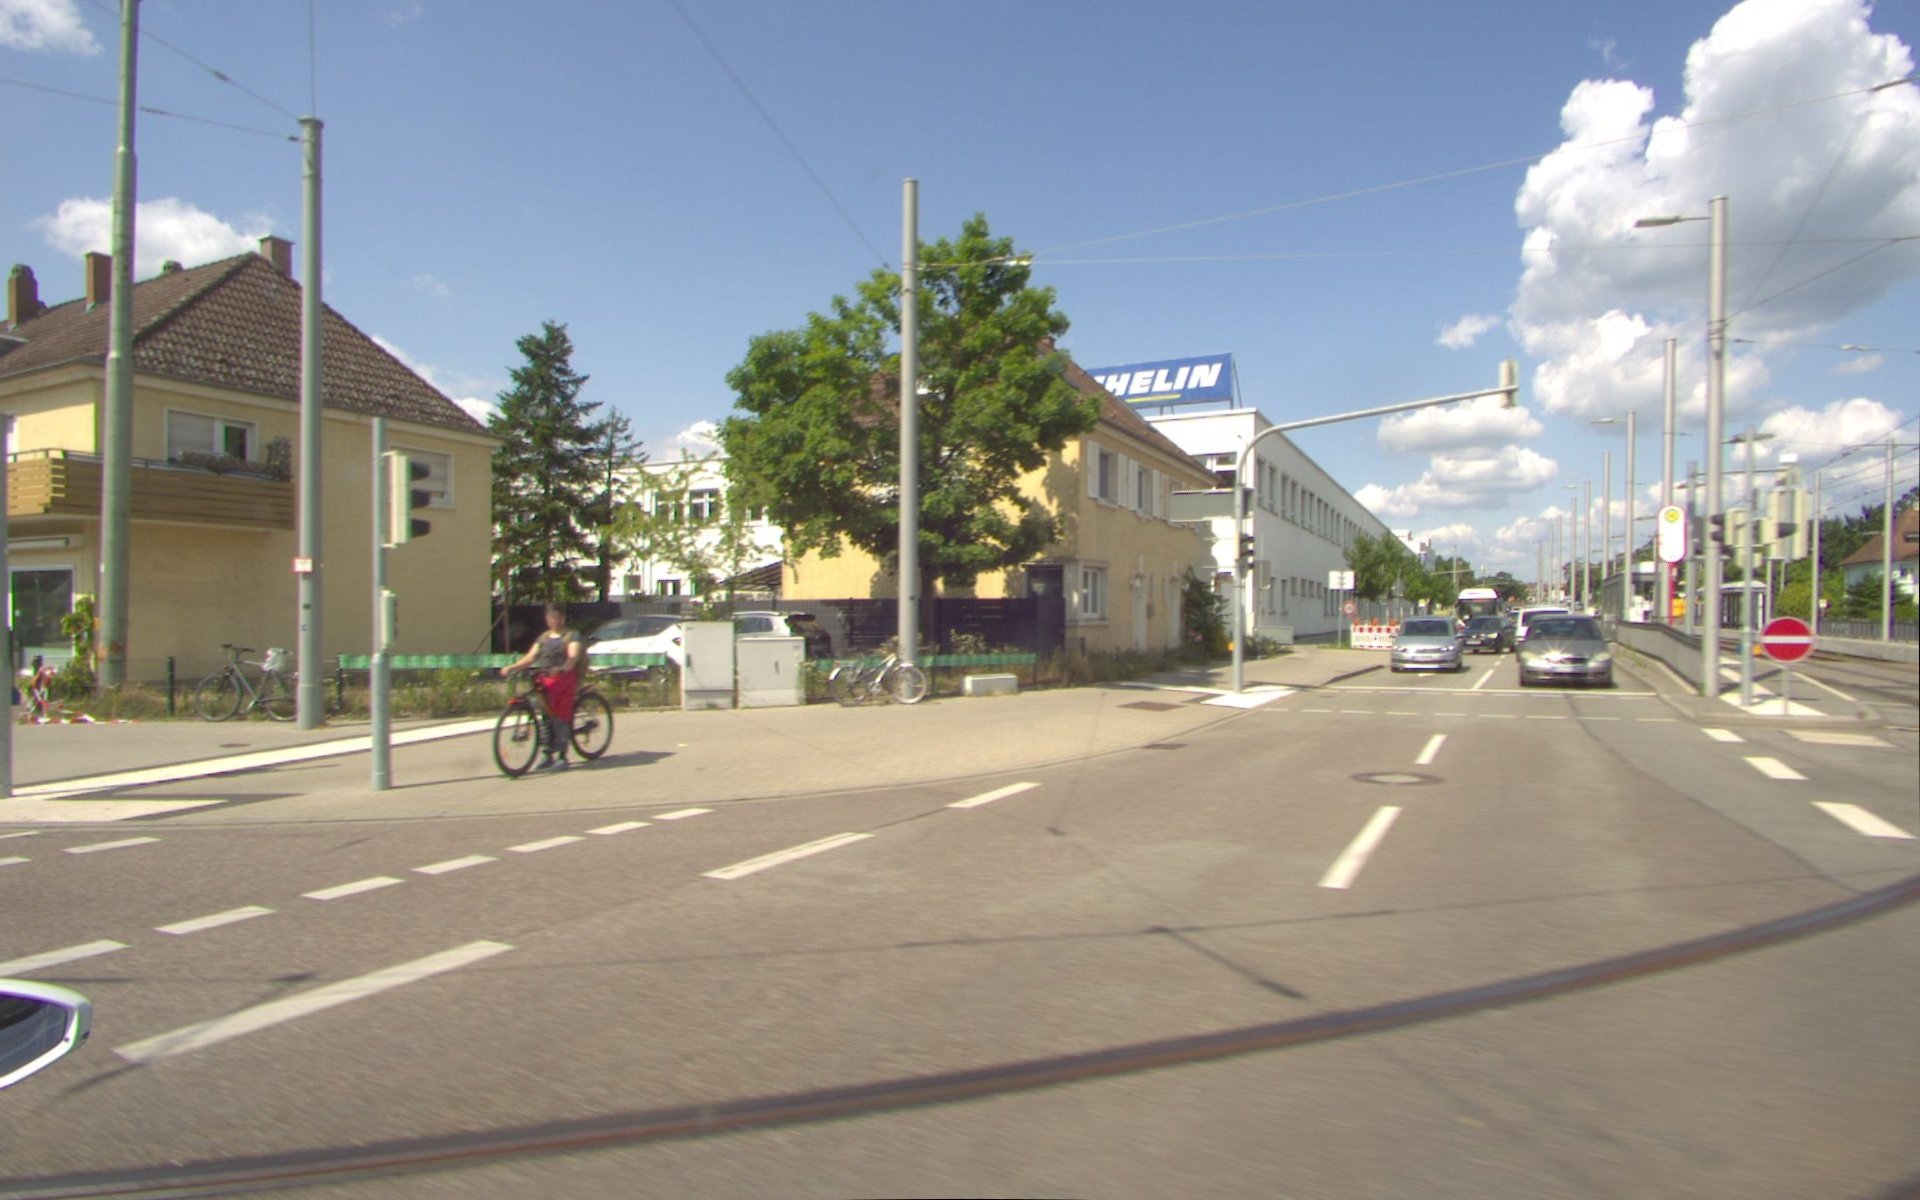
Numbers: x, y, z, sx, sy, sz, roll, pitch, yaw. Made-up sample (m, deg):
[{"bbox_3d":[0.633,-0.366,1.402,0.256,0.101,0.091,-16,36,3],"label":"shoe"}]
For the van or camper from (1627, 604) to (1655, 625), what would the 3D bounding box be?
[{"bbox_3d":[111.382,2.438,163.866,2.960,3.249,7.100,0,-2,28],"label":"van or camper"}]

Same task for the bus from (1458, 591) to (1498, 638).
[{"bbox_3d":[37.143,1.053,71.922,2.469,3.162,6.631,0,-1,27],"label":"bus"}]

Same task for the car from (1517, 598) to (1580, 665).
[{"bbox_3d":[20.691,1.076,35.193,1.788,2.187,4.824,0,-1,31],"label":"car"}]

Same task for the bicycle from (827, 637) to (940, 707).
[{"bbox_3d":[-1.285,1.183,16.798,1.777,1.119,0.701,0,0,-18],"label":"bicycle"}]

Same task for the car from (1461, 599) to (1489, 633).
[{"bbox_3d":[41.022,1.301,79.737,1.946,2.661,5.142,0,-1,28],"label":"car"}]

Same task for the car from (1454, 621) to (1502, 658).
[{"bbox_3d":[21.499,1.588,41.531,1.538,1.448,3.574,0,-1,31],"label":"car"}]

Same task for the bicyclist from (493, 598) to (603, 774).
[{"bbox_3d":[-4.398,0.888,10.754,0.706,1.798,0.960,0,0,8],"label":"bicyclist"}]

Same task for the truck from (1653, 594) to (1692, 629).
[{"bbox_3d":[74.421,1.268,104.731,2.153,3.449,7.209,0,-2,26],"label":"truck"}]

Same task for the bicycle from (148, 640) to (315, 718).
[{"bbox_3d":[-10.879,1.165,14.973,2.233,1.111,0.595,0,0,8],"label":"bicycle"}]

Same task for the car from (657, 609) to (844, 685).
[{"bbox_3d":[-4.888,1.089,23.372,3.934,1.642,1.823,-2,-1,24],"label":"car"}]

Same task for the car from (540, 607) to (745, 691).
[{"bbox_3d":[-6.724,1.036,21.221,3.934,1.642,1.823,-2,-1,24],"label":"car"}]

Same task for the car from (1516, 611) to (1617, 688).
[{"bbox_3d":[13.716,1.052,22.688,1.815,1.589,3.980,0,-1,31],"label":"car"}]

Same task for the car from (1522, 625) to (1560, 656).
[{"bbox_3d":[37.688,2.618,64.985,1.969,1.906,3.985,0,-2,28],"label":"car"}]

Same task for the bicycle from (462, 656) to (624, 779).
[{"bbox_3d":[-4.401,1.197,10.753,0.701,1.116,2.034,0,-1,7],"label":"bicycle"}]

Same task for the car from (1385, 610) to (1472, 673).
[{"bbox_3d":[13.833,1.154,29.448,1.911,1.714,3.980,0,-1,31],"label":"car"}]
